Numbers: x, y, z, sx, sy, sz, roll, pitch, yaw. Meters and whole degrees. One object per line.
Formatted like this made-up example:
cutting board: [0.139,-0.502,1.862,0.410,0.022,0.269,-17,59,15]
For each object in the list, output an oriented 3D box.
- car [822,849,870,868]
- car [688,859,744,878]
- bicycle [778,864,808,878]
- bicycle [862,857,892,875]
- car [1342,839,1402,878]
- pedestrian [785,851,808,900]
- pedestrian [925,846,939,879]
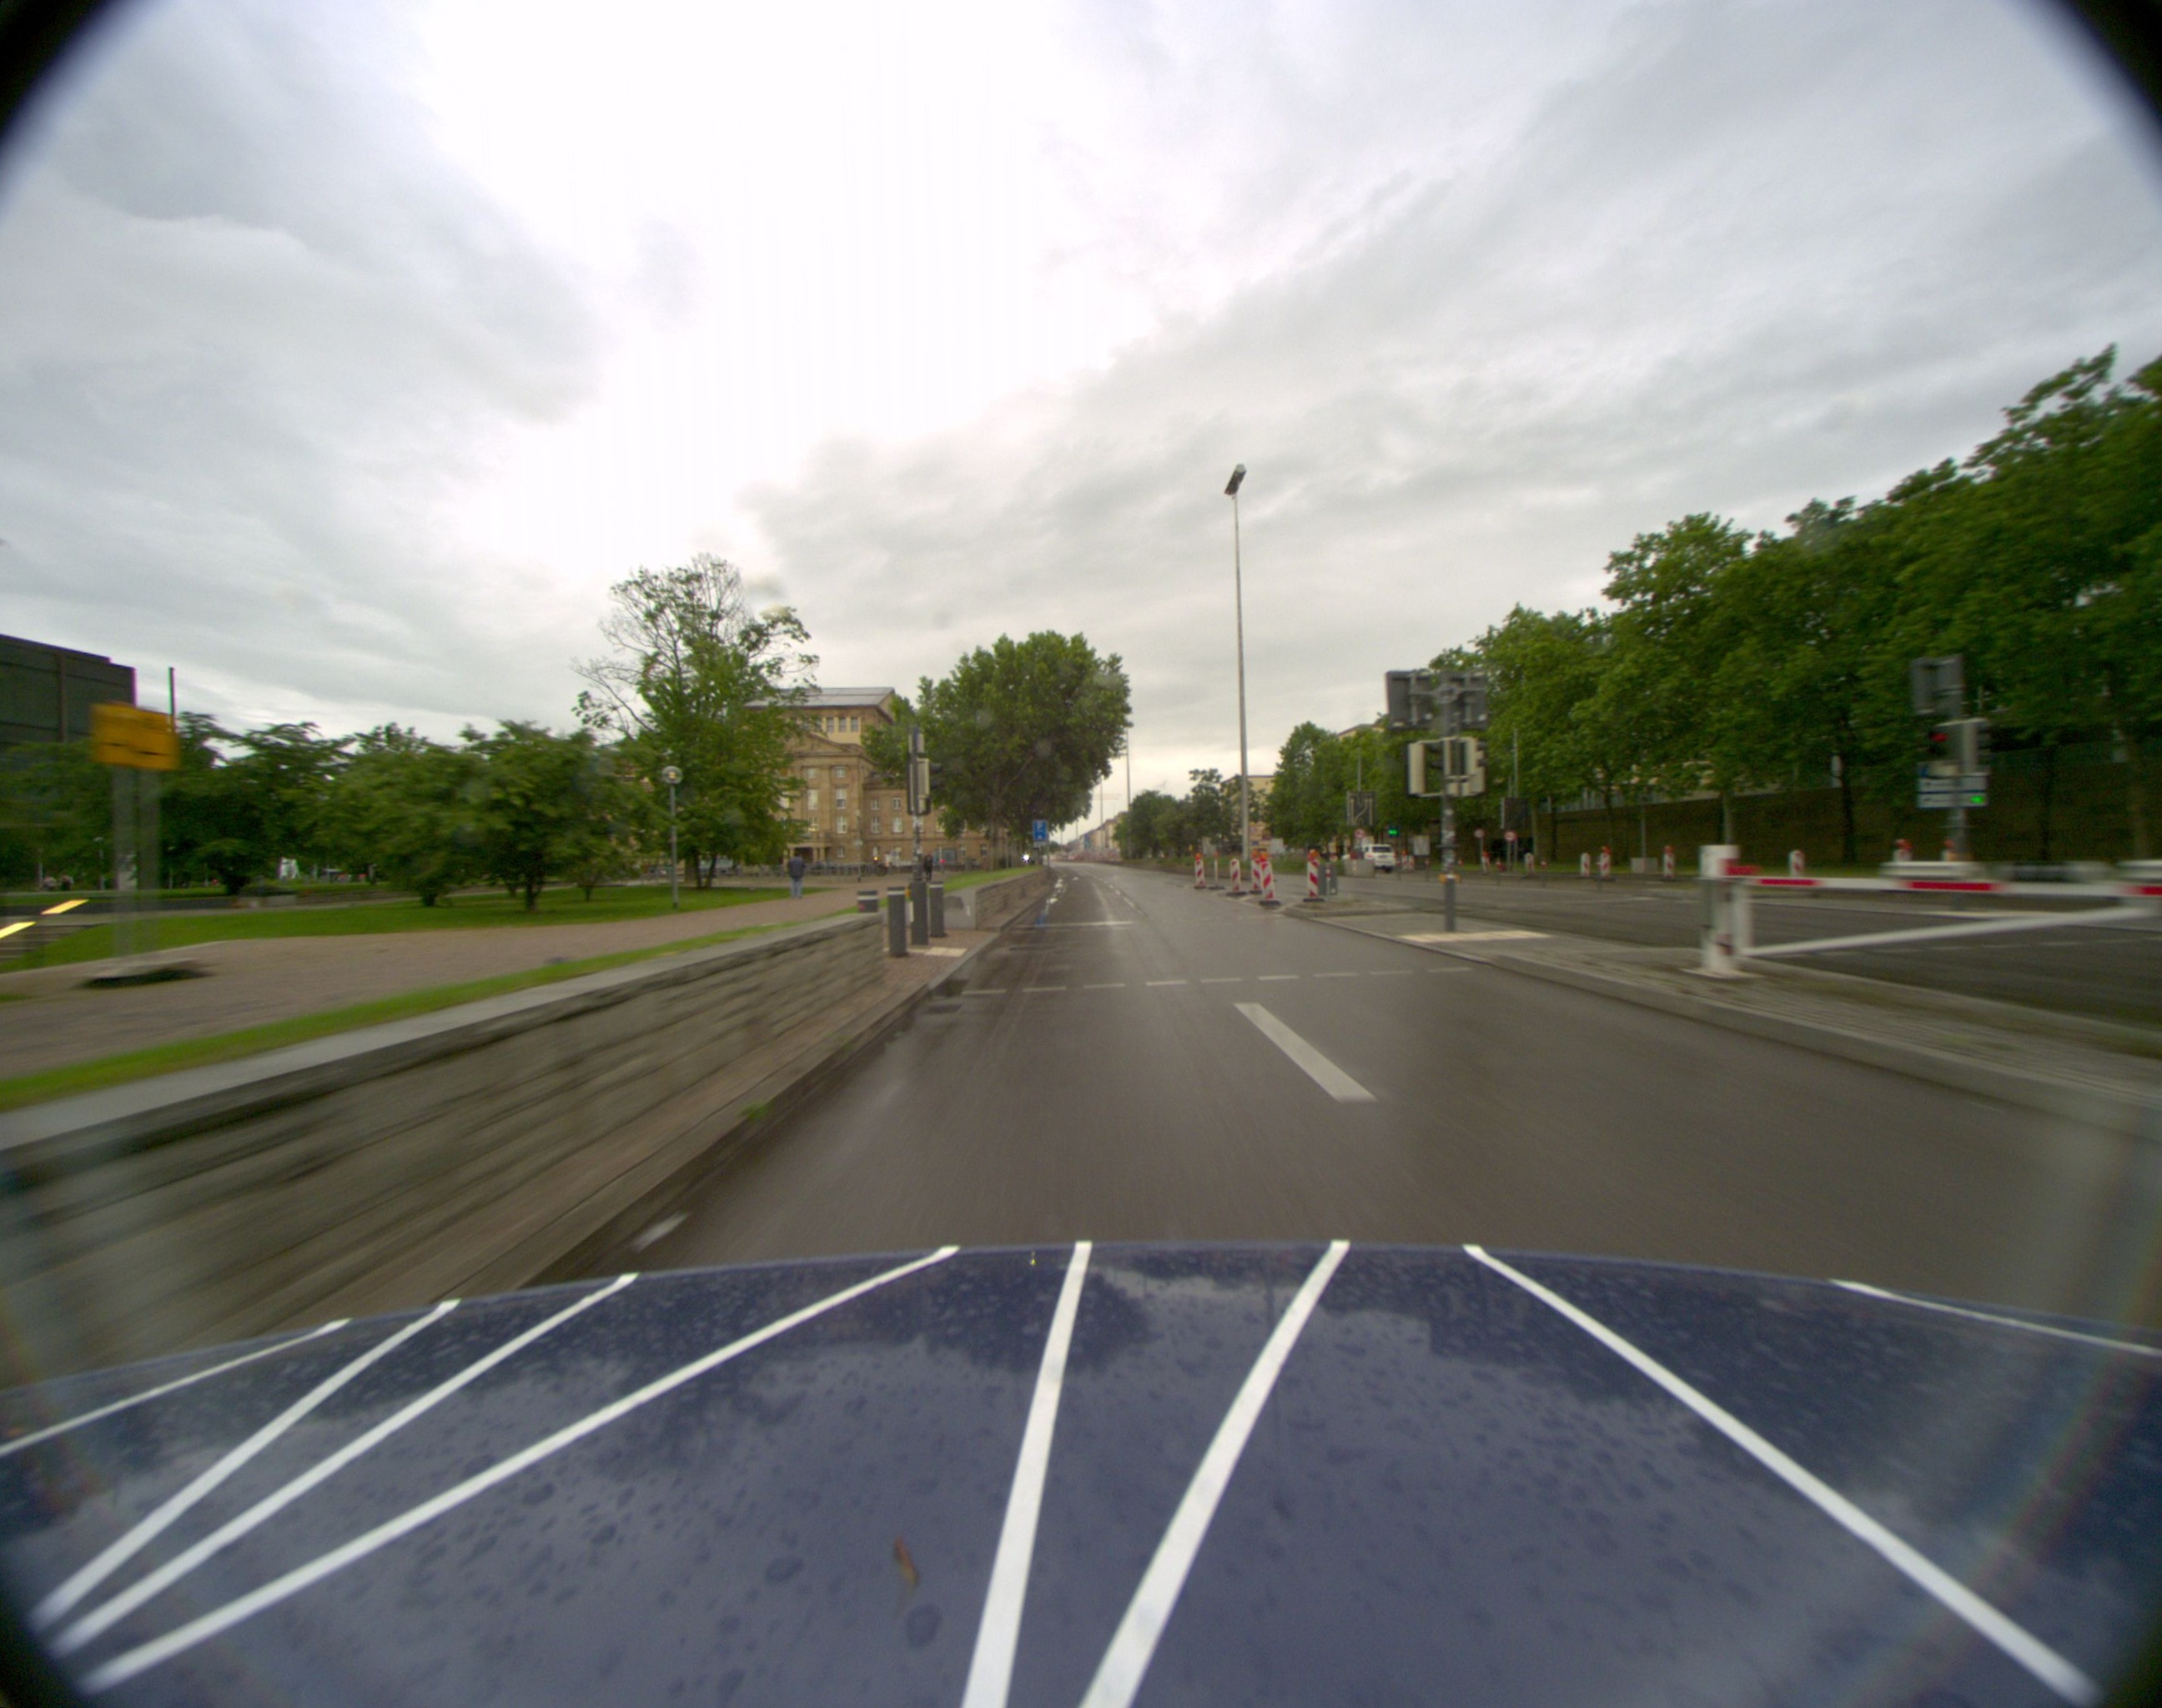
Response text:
car: [-22.298,0.433,72.205,3.948,1.584,1.956,-3,1,-4]
car: [-34.816,1.380,72.520,4.296,1.584,1.956,-3,1,-4]
bicycle: [-17.331,0.994,45.736,1.627,0.791,0.509,-1,0,-21]
bicycle: [-13.322,0.790,49.600,1.758,1.059,0.827,-3,1,-21]
car: [18.803,0.272,49.264,1.999,2.285,4.227,-3,1,-3]
pedestrian: [-9.749,0.715,26.035,0.671,1.655,0.587,-1,1,-17]
pedestrian: [-8.008,0.440,40.793,0.594,1.764,0.587,-3,1,-3]
